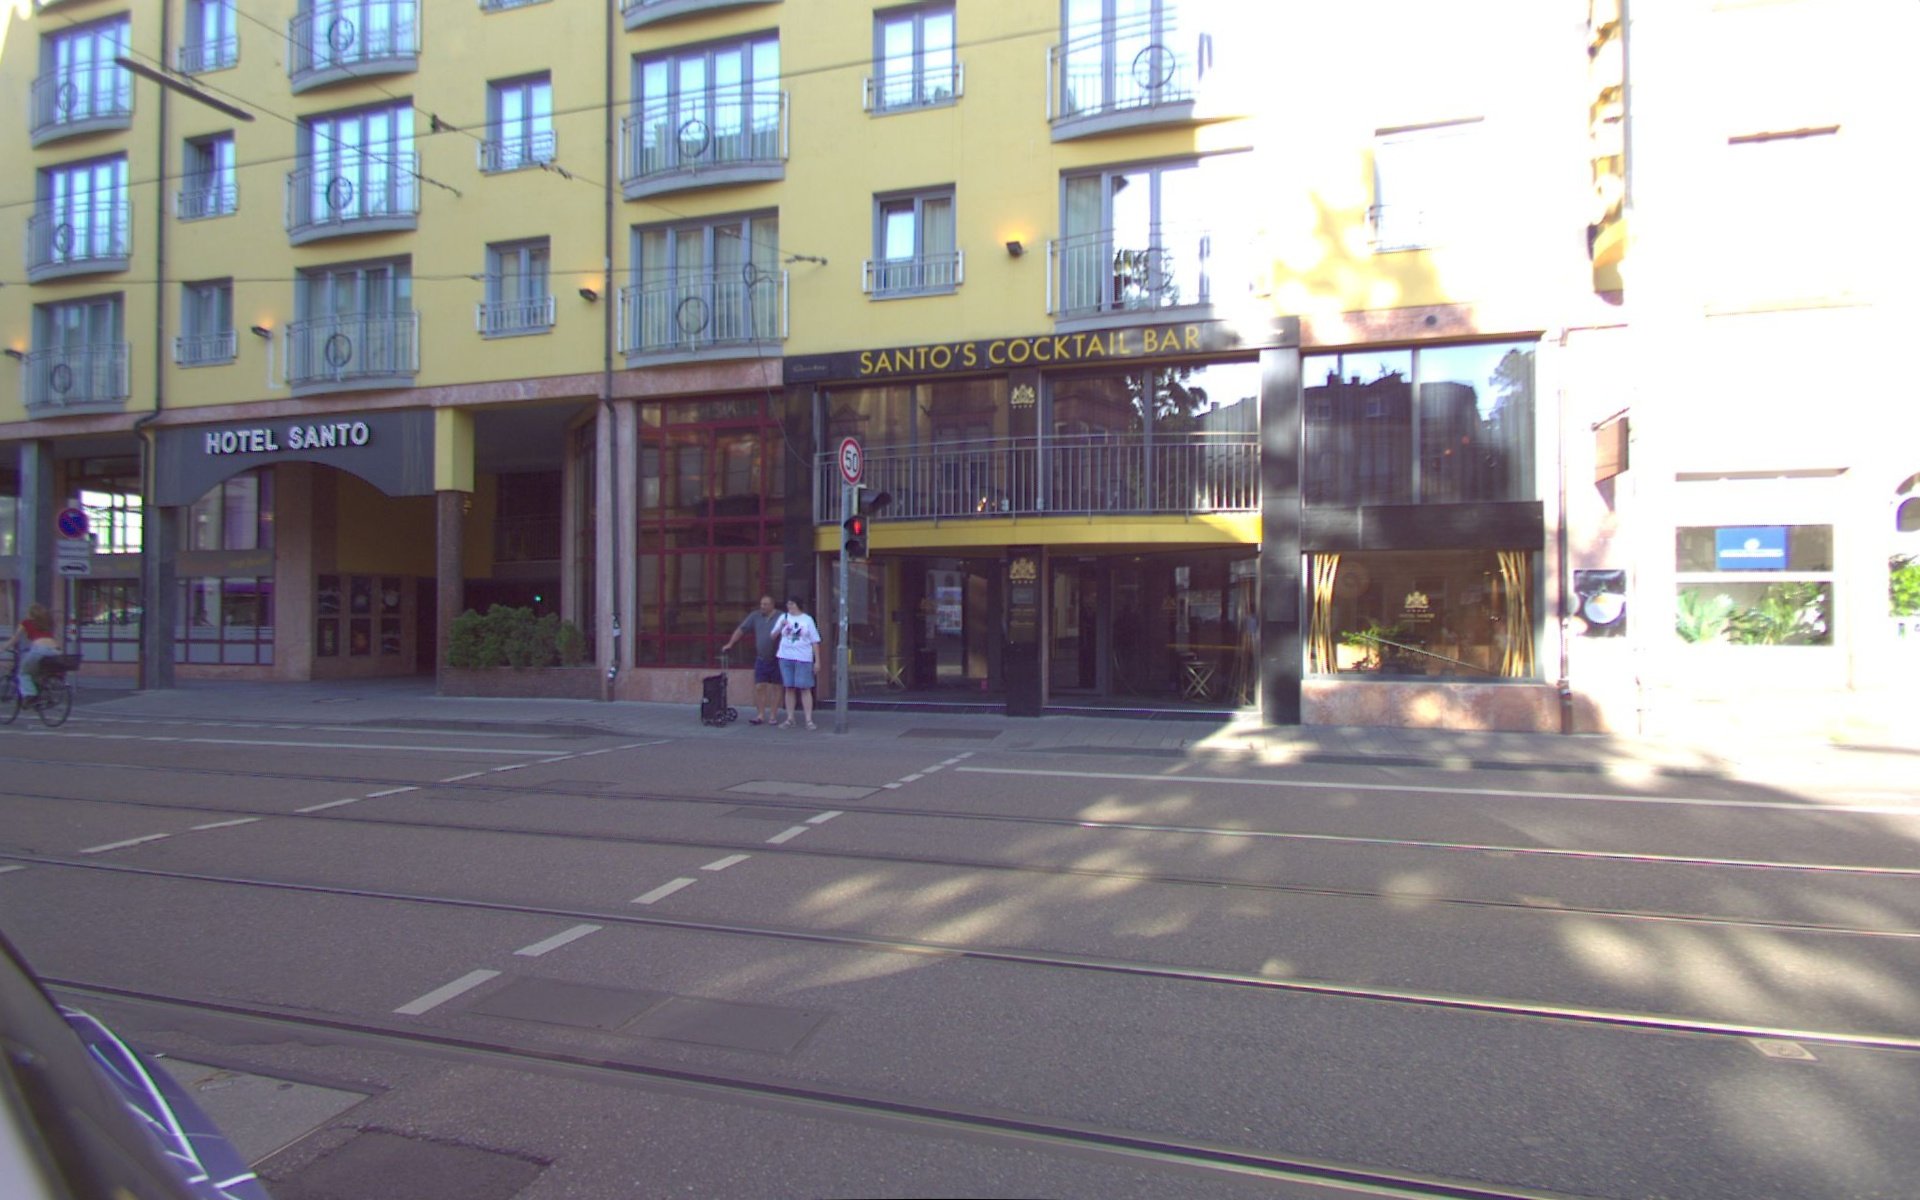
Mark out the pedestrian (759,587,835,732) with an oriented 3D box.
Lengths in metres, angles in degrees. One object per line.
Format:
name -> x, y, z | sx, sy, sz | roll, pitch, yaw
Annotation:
pedestrian -> -2.161, 0.763, 13.506 | 0.729, 1.854, 0.723 | 0, 2, 17

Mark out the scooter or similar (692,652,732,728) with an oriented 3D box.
scooter or similar -> -3.389, 1.219, 13.828 | 0.354, 0.984, 0.421 | 0, 2, 15

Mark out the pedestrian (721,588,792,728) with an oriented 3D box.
pedestrian -> -2.798, 0.776, 13.948 | 0.673, 1.854, 0.723 | 0, 2, 17

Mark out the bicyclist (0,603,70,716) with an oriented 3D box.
bicyclist -> -13.164, 0.821, 14.214 | 0.749, 1.531, 0.676 | 0, -1, 16

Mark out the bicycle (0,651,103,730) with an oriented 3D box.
bicycle -> -13.088, 1.245, 14.188 | 1.945, 1.011, 0.675 | 0, -1, 16
